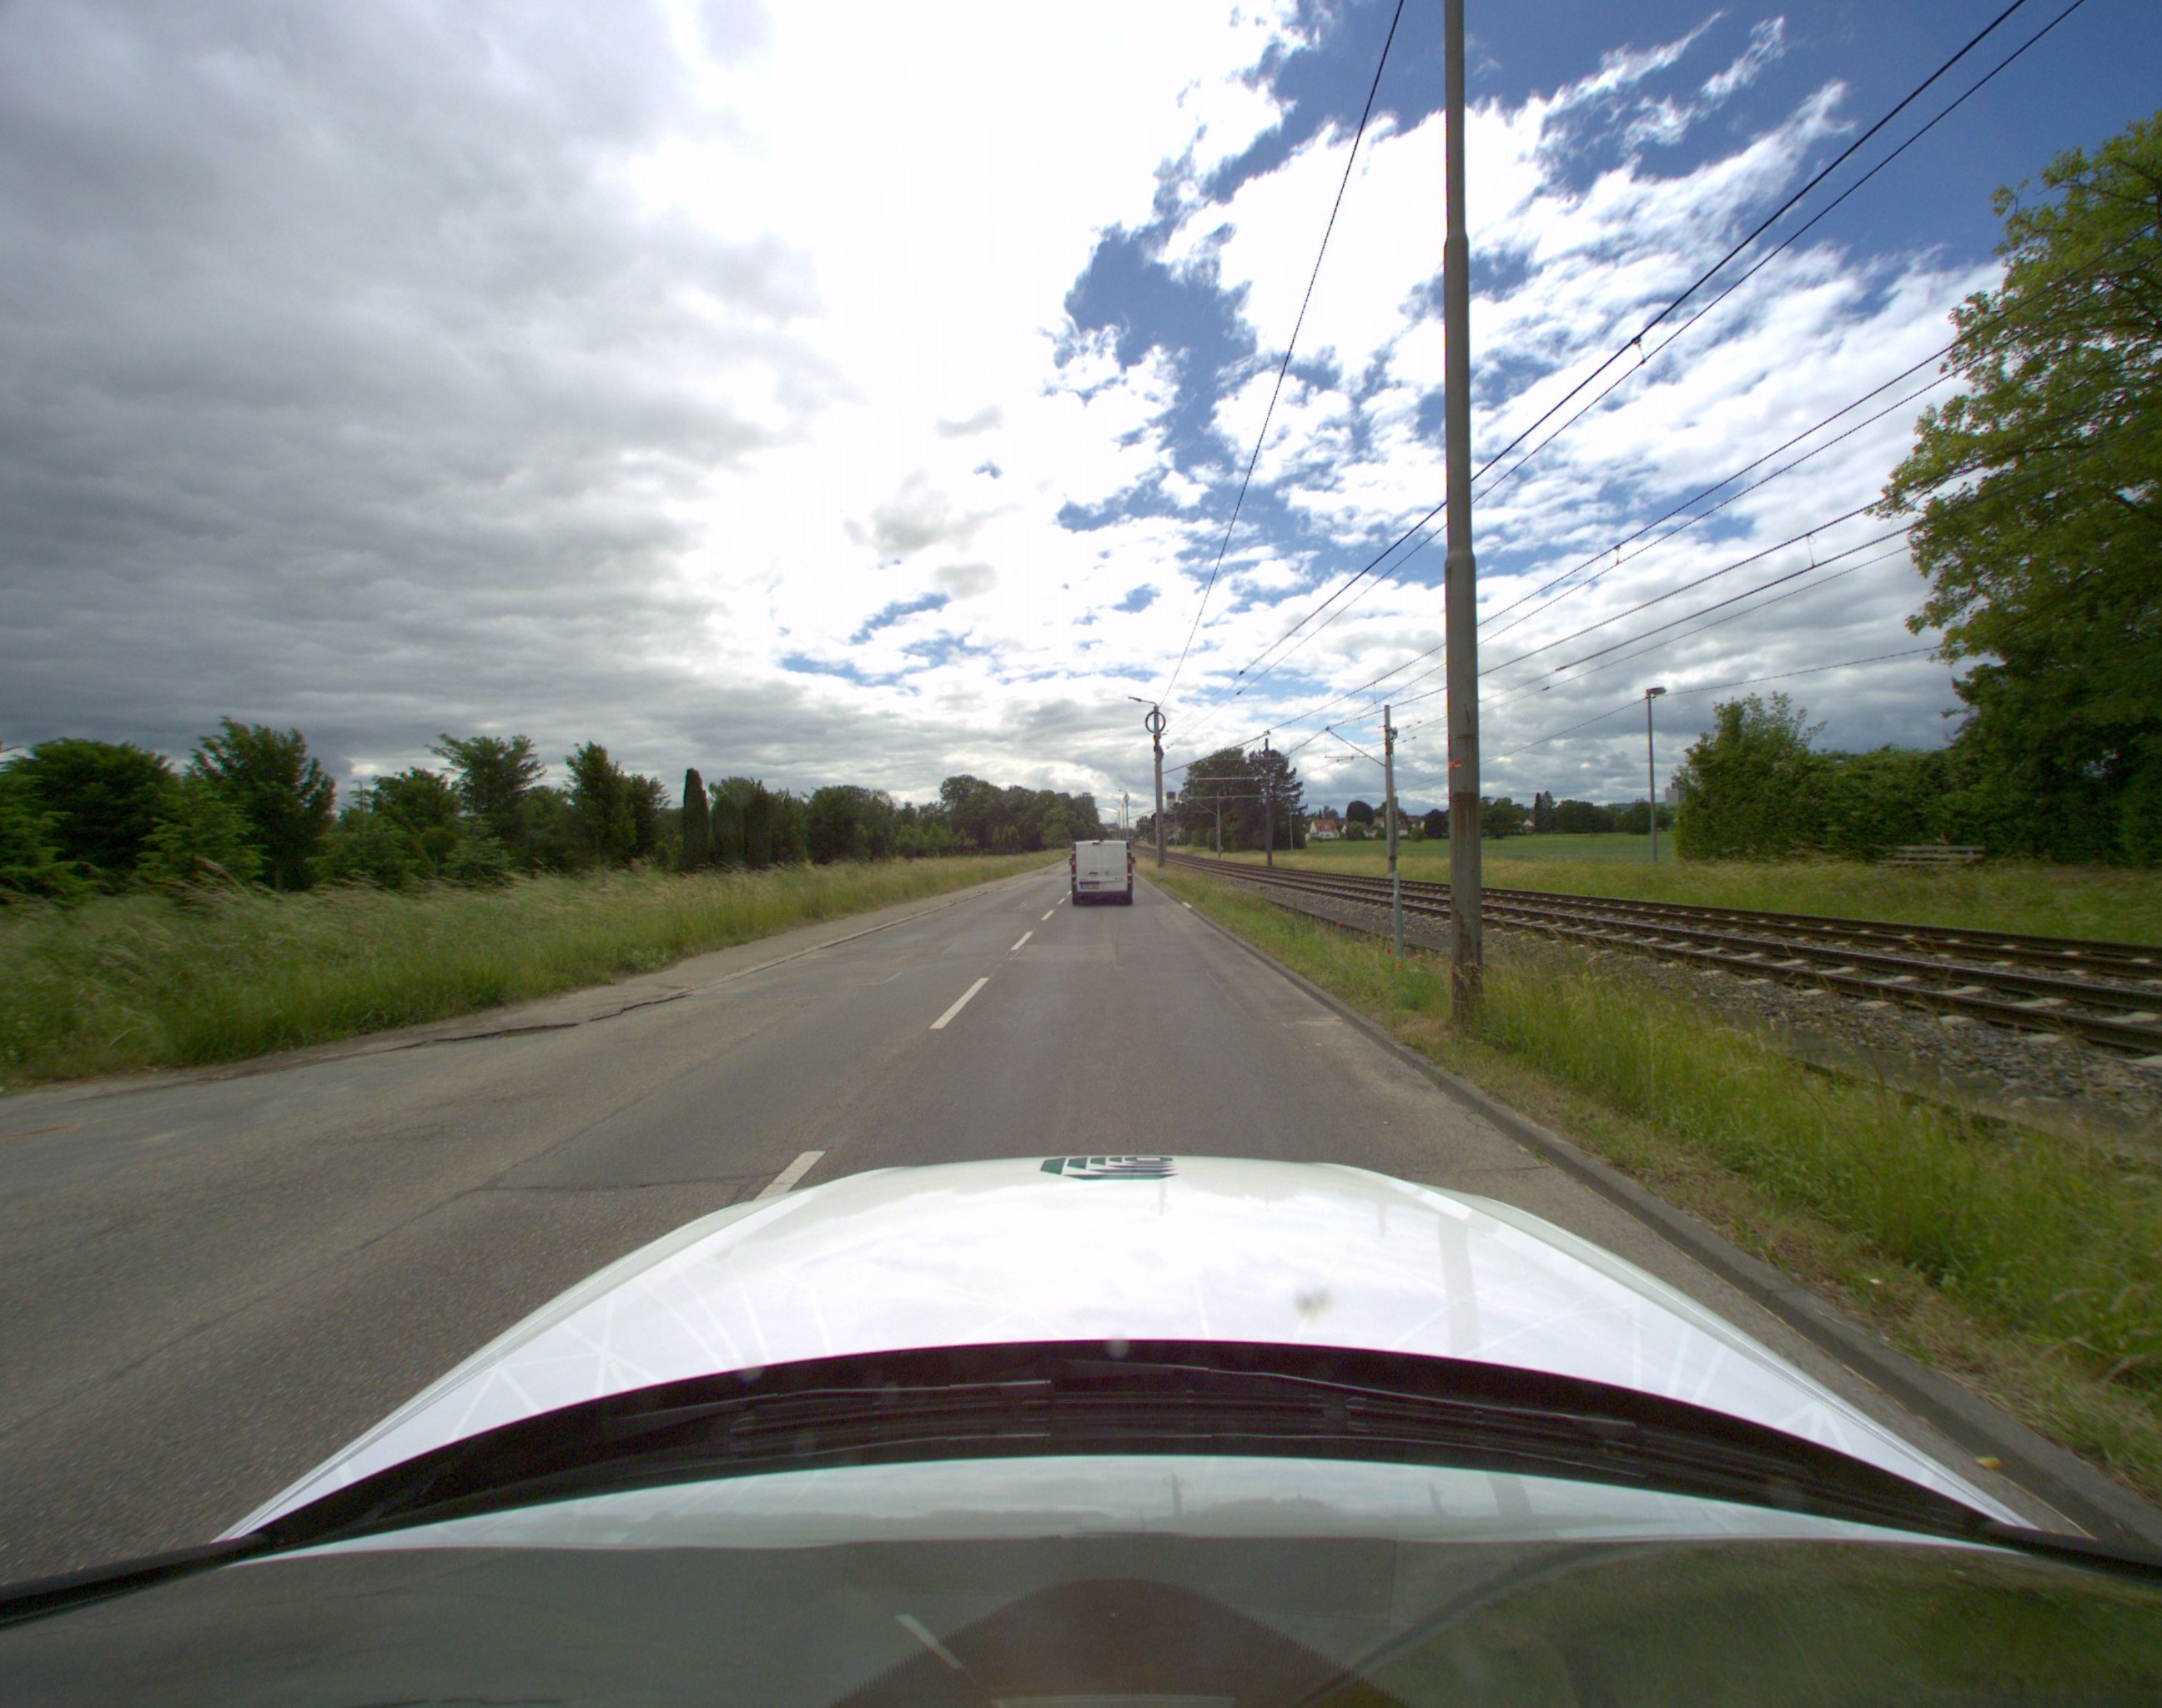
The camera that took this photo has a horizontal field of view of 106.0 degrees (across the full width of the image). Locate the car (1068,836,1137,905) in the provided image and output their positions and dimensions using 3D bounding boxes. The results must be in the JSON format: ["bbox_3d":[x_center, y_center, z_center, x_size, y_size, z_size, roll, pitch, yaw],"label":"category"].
[{"bbox_3d":[0.662,0.483,25.878,1.987,1.957,4.000,-2,0,1],"label":"car"}]
